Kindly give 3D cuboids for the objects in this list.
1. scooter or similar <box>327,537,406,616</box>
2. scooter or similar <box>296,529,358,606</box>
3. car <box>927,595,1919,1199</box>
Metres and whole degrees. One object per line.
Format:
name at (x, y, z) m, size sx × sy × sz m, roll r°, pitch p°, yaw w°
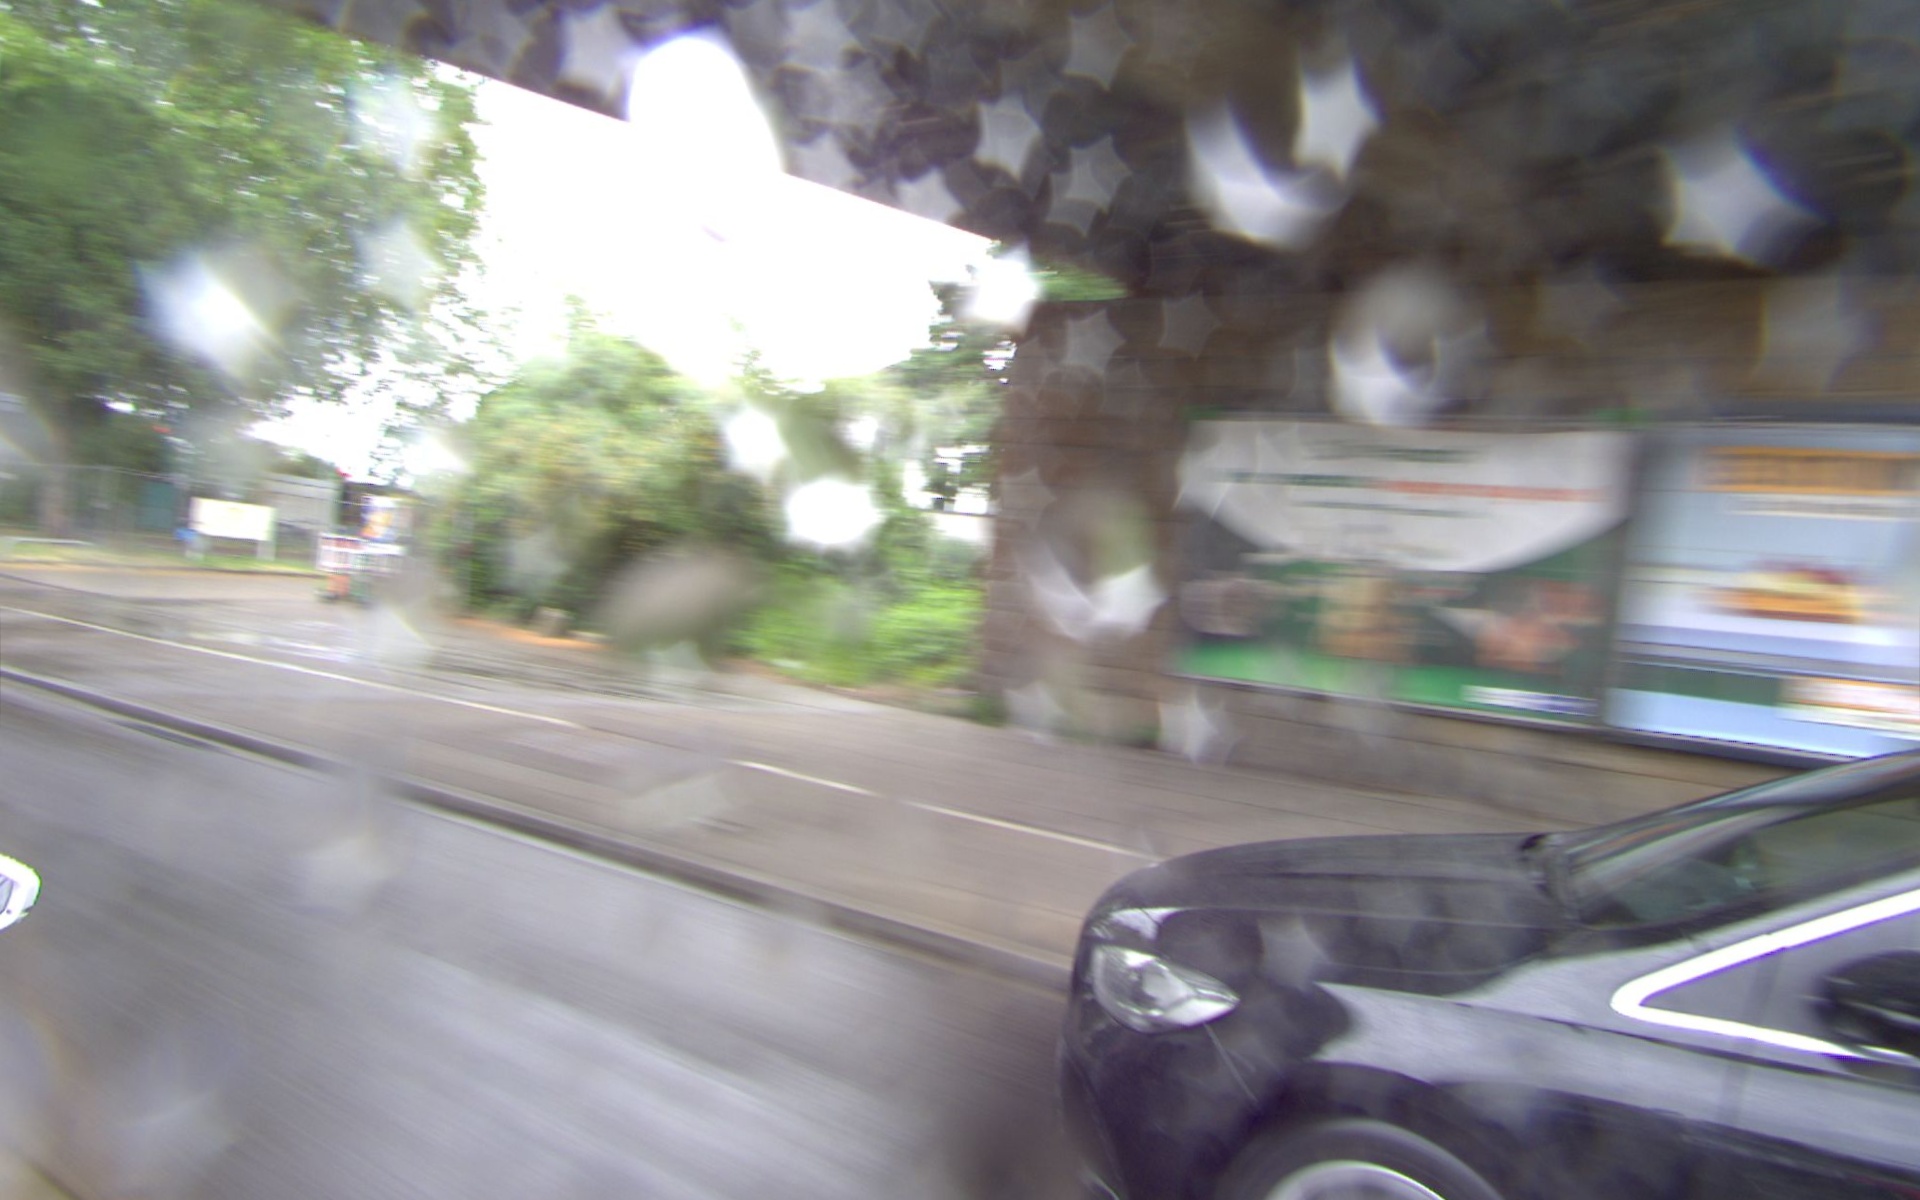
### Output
scooter or similar at (-10.194, -0.411, 17.252) m, size 1.527 × 1.195 × 0.767 m, roll 8°, pitch 4°, yaw 45°
scooter or similar at (-11.493, -0.601, 18.309) m, size 0.700 × 1.329 × 1.549 m, roll 1°, pitch 3°, yaw -22°
car at (2.173, 1.002, 2.070) m, size 4.017 × 1.543 × 1.872 m, roll 7°, pitch 1°, yaw 29°
